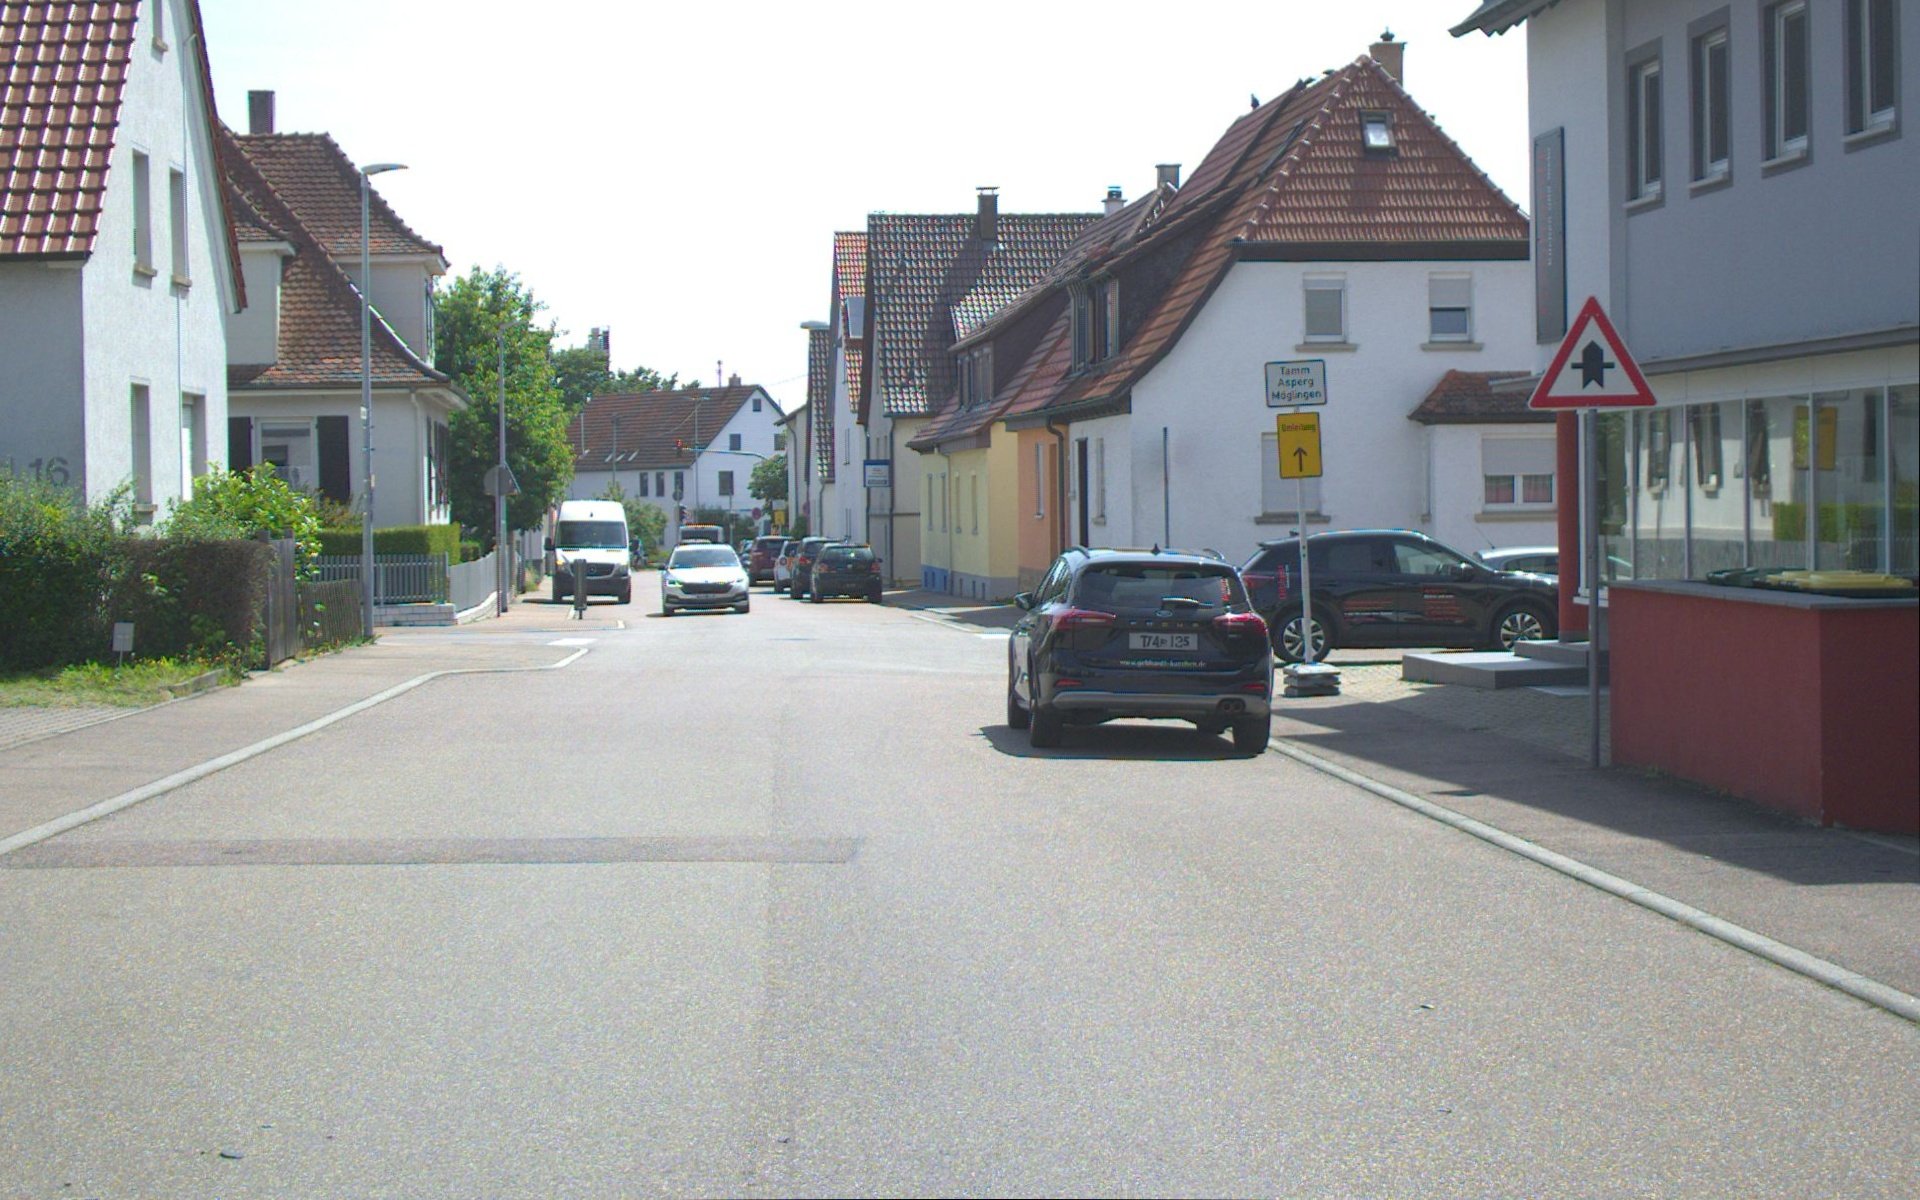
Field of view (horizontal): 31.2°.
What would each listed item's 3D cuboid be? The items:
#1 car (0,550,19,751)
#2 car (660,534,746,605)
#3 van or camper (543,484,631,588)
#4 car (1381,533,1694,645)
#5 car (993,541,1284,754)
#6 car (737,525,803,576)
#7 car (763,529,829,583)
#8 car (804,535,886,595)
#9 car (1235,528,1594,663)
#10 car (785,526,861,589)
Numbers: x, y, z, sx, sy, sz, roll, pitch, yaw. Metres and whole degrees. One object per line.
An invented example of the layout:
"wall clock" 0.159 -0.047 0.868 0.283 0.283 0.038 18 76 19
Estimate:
"car" -8.155 0.397 22.599 1.828 1.427 4.560 0 1 13
"car" -5.413 -0.657 72.118 1.753 1.433 4.589 0 1 -5
"van or camper" -9.639 -1.653 88.757 2.184 2.563 6.809 0 1 -6
"car" 7.862 -0.170 47.061 3.987 1.499 1.694 0 1 0
"car" 1.307 0.306 26.977 1.761 1.522 4.407 0 1 -4
"car" -6.454 -1.688 116.473 1.875 1.694 4.184 0 1 -8
"car" -4.868 -1.310 101.496 1.673 1.553 3.041 0 1 -8
"car" -2.837 -0.875 83.893 1.610 1.426 3.755 0 1 -8
"car" 5.637 -0.074 43.034 4.294 1.647 1.848 0 1 2
"car" -3.595 -1.117 89.623 1.728 1.594 4.254 0 1 -5
